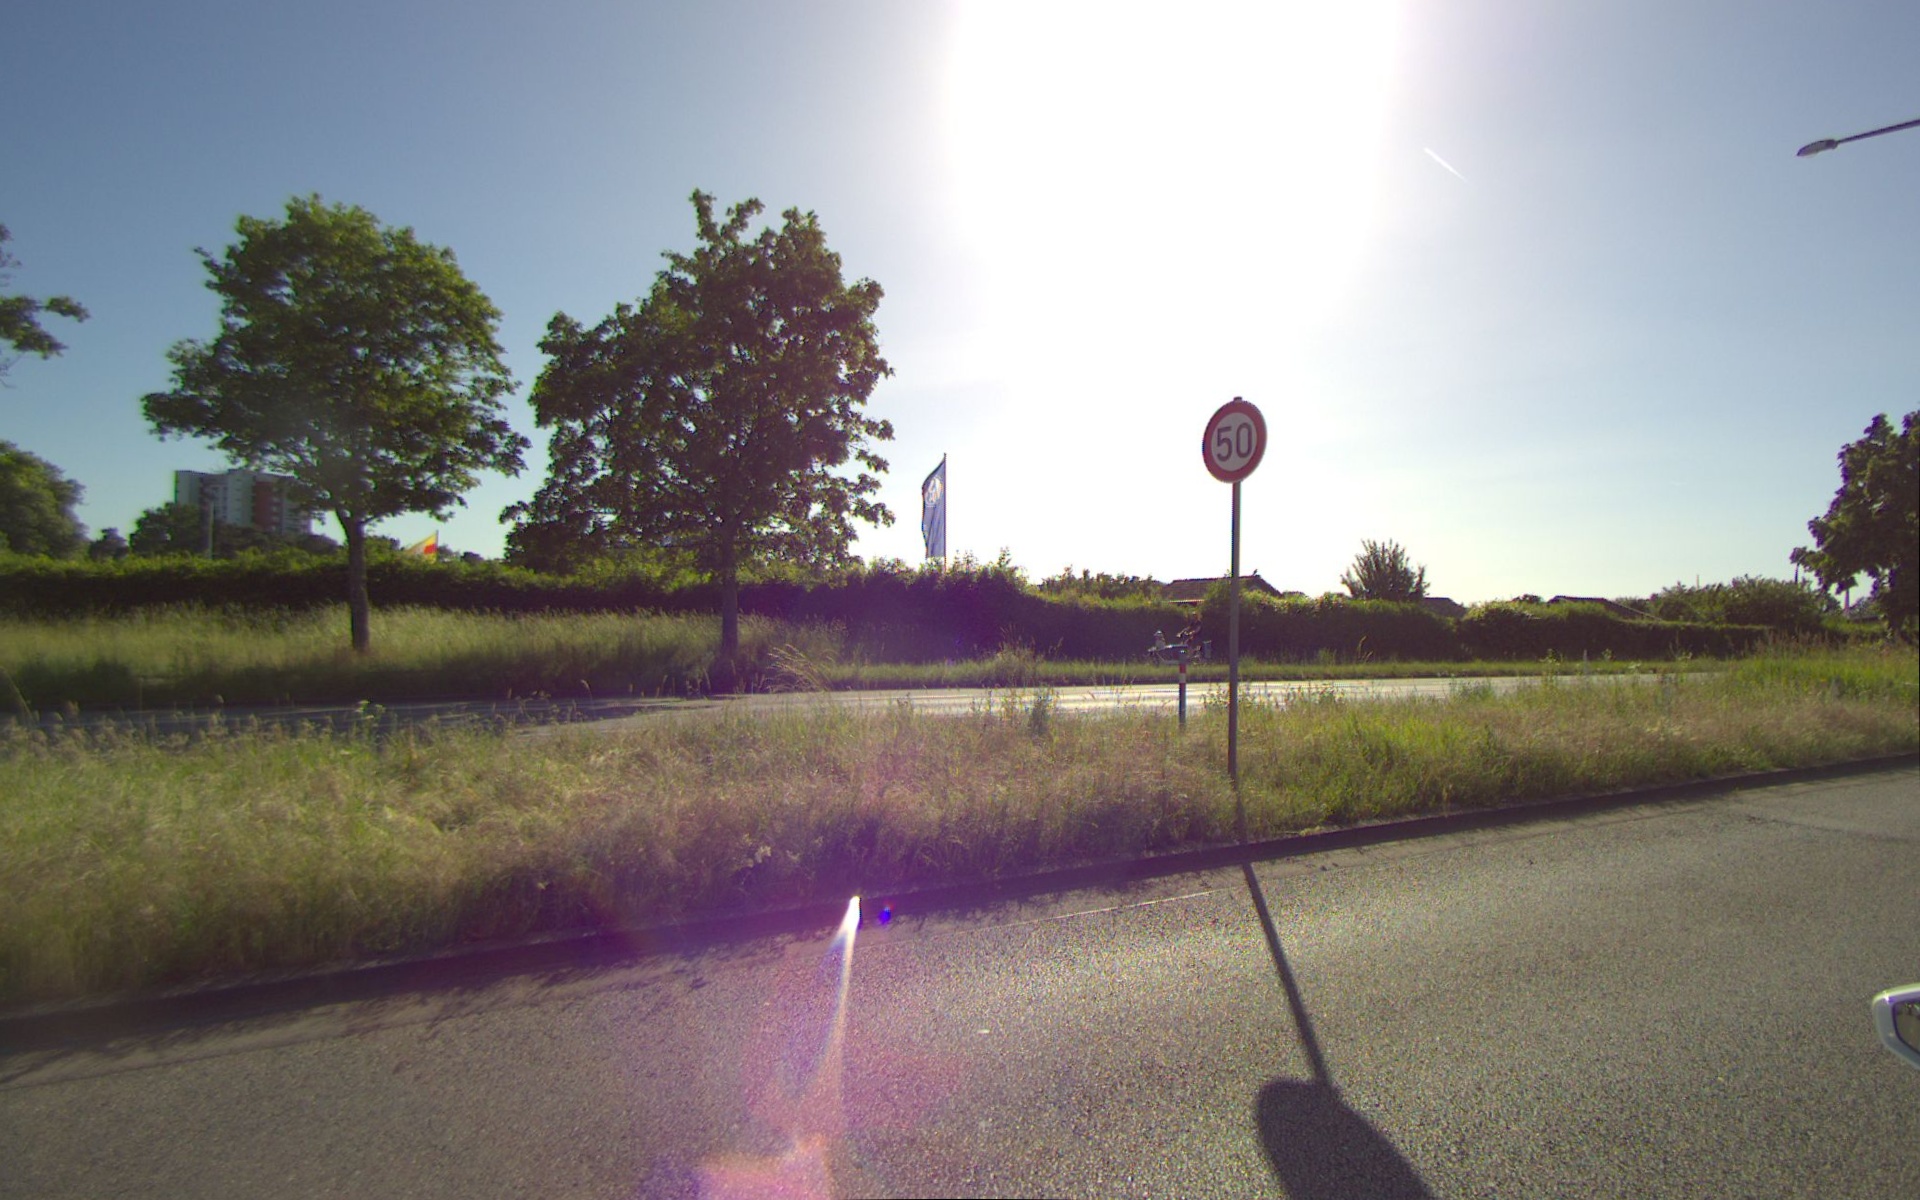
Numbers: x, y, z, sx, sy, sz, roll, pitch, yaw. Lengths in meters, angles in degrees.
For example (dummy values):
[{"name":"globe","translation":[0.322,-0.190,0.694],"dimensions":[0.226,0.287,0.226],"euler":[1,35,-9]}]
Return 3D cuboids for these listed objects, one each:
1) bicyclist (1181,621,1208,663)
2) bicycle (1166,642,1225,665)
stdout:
[{"name":"bicyclist","translation":[7.350,1.306,31.463],"dimensions":[0.568,1.273,0.582],"euler":[1,0,-23]},{"name":"bicycle","translation":[7.381,1.666,31.476],"dimensions":[1.848,0.704,0.563],"euler":[1,0,-23]}]
